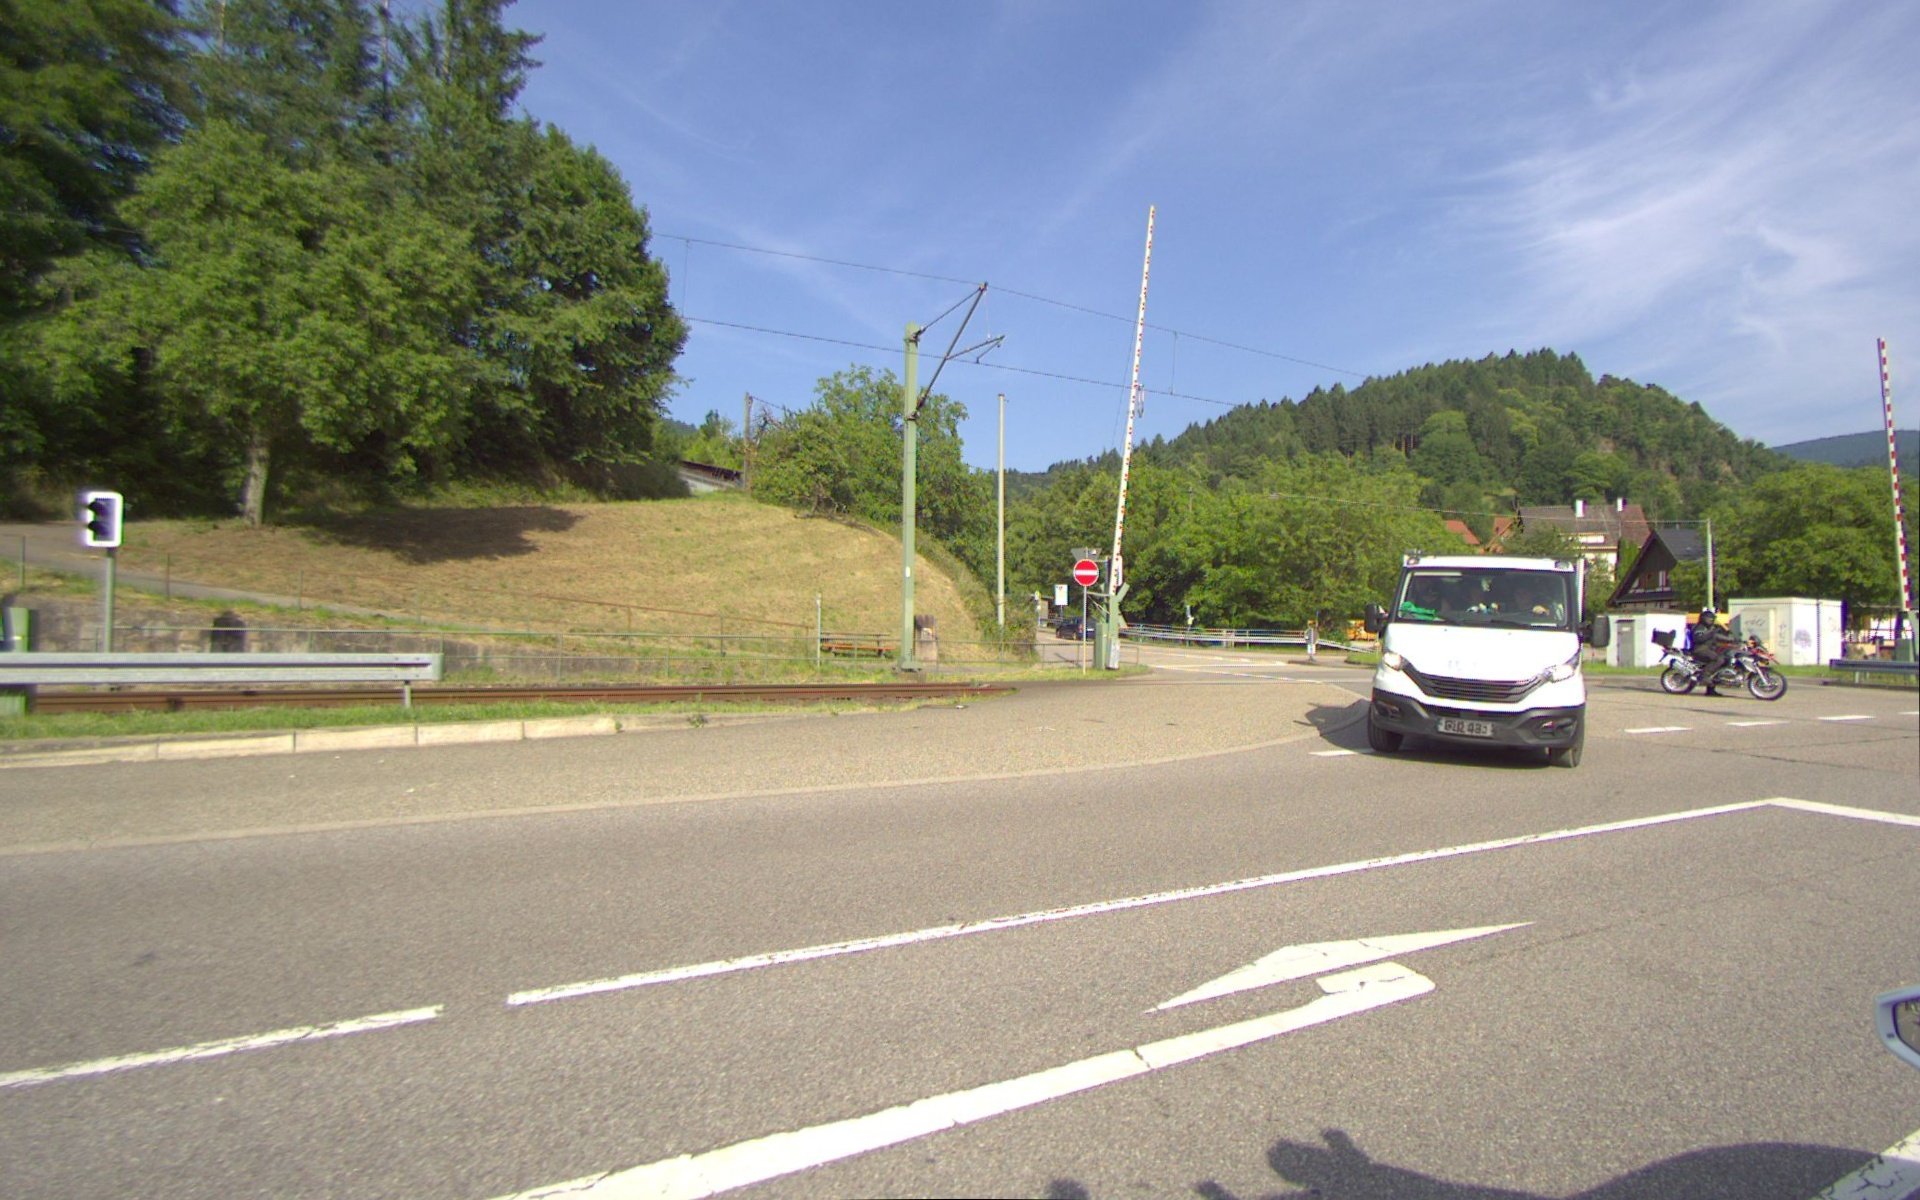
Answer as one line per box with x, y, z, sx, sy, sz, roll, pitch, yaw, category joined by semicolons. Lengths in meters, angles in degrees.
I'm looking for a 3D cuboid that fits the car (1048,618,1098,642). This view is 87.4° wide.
7.607;2.034;68.072;1.919;1.550;3.984;1;-2;-18;car

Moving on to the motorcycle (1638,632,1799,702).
15.878;1.366;21.085;0.998;1.285;2.560;2;0;-43;motorcycle

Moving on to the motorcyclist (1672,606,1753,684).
15.840;0.929;21.148;0.985;1.565;1.171;2;0;-43;motorcyclist

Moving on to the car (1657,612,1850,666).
39.046;1.860;49.765;2.903;2.489;7.056;1;-1;-19;car

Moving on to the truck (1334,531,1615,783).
6.651;0.576;12.454;2.413;2.296;6.263;1;-1;33;truck
